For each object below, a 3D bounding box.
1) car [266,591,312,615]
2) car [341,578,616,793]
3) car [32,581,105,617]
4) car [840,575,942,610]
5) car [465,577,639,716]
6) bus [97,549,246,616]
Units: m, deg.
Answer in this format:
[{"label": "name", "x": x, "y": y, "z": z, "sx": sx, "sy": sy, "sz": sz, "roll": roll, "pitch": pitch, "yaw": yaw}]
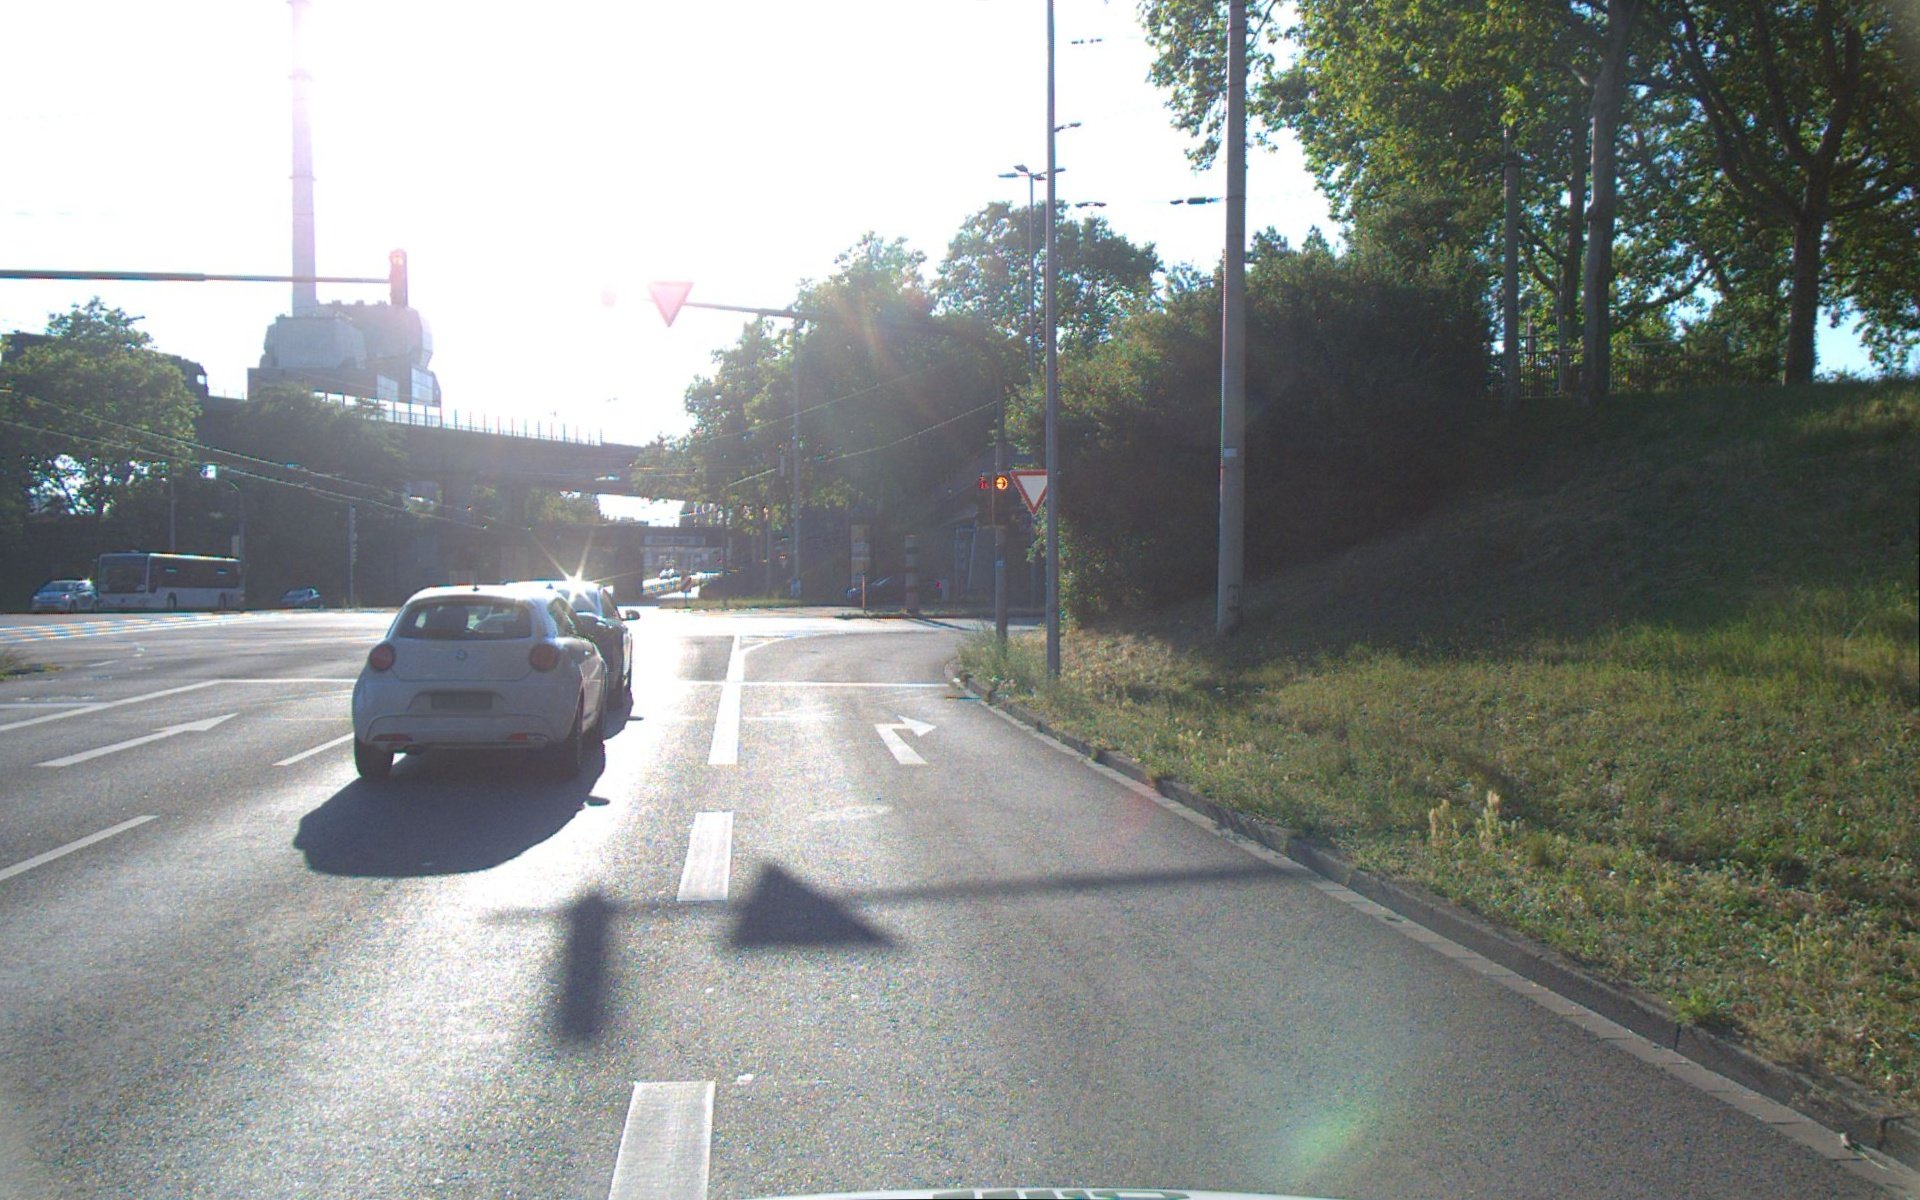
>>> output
[{"label": "car", "x": -42.220, "y": 0.161, "z": 104.188, "sx": 1.575, "sy": 1.443, "sz": 4.004, "roll": 1, "pitch": 1, "yaw": -5}, {"label": "car", "x": -3.939, "y": 0.592, "z": 14.141, "sx": 1.704, "sy": 1.531, "sz": 3.993, "roll": -1, "pitch": 1, "yaw": -8}, {"label": "car", "x": -39.506, "y": -0.046, "z": 73.367, "sx": 1.577, "sy": 1.538, "sz": 4.000, "roll": 1, "pitch": 1, "yaw": -9}, {"label": "car", "x": -3.220, "y": -0.341, "z": 77.323, "sx": 4.516, "sy": 1.602, "sz": 1.681, "roll": 0, "pitch": 1, "yaw": -25}, {"label": "car", "x": -4.905, "y": 0.481, "z": 20.361, "sx": 1.682, "sy": 1.491, "sz": 4.199, "roll": -1, "pitch": 1, "yaw": -9}, {"label": "bus", "x": -40.652, "y": -0.771, "z": 85.904, "sx": 2.494, "sy": 3.185, "sz": 12.905, "roll": -1, "pitch": -1, "yaw": -4}]
